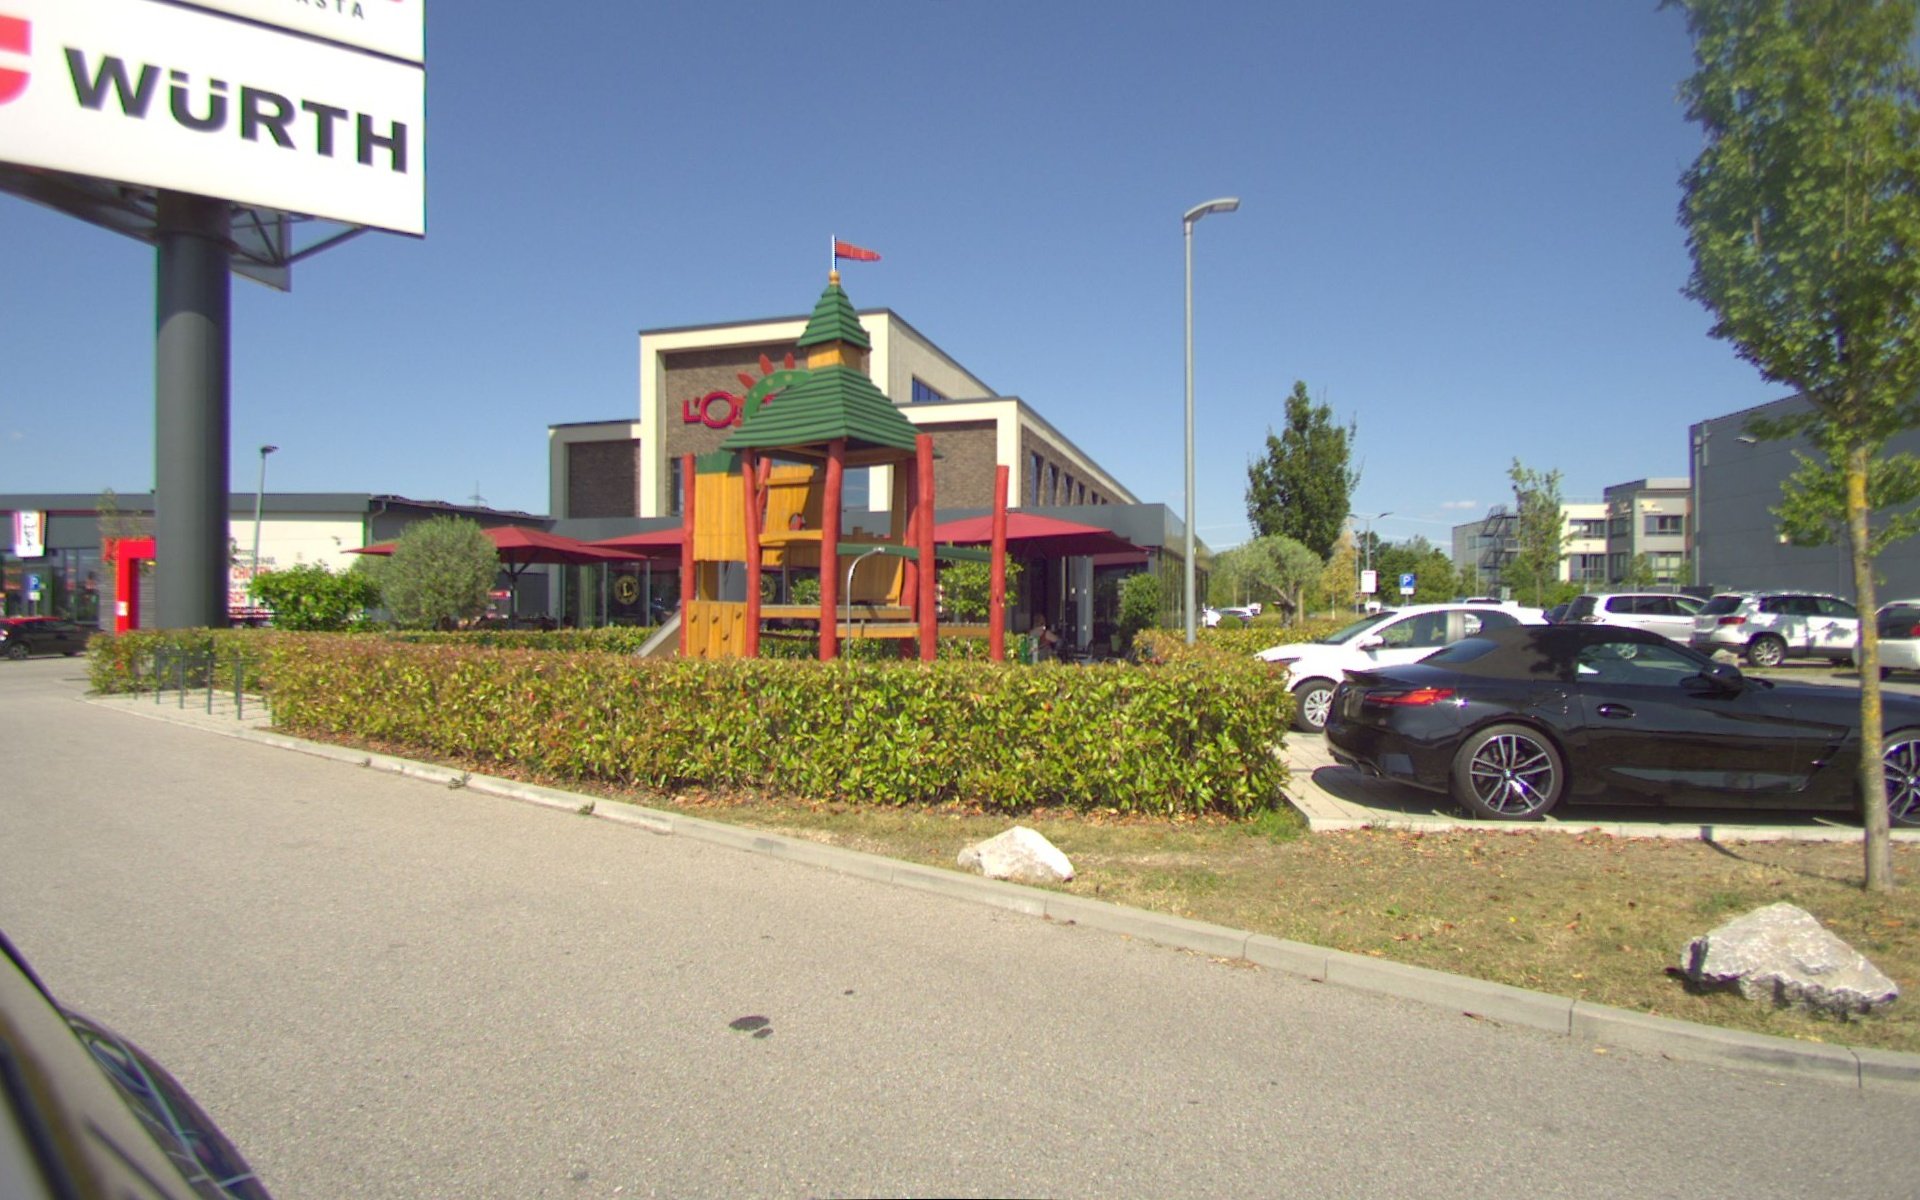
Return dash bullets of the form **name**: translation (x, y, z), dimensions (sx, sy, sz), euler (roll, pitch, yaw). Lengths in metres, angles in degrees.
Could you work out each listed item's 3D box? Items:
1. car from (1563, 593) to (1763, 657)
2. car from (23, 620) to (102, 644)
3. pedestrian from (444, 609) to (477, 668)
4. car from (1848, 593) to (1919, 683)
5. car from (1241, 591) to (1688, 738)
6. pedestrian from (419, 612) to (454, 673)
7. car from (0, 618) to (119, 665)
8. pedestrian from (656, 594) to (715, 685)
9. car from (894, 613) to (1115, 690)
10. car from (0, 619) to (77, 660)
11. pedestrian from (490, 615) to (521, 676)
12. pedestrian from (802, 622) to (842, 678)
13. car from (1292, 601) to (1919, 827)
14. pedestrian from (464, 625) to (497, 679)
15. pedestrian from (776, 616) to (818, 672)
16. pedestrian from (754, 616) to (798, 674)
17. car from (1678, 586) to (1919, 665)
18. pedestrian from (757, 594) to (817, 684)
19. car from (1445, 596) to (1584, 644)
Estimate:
- **car**: translation (18.441, 0.657, 26.728), dimensions (3.907, 1.579, 1.732), euler (-1, -1, 10)
- **car**: translation (-64.432, 2.289, 72.719), dimensions (3.931, 1.564, 1.760), euler (0, -1, -30)
- **pedestrian**: translation (-12.874, 0.990, 26.084), dimensions (0.564, 1.516, 0.523), euler (-1, -1, 15)
- **car**: translation (18.024, 0.612, 17.313), dimensions (3.902, 1.498, 1.734), euler (-1, -1, 6)
- **car**: translation (5.704, 0.736, 12.059), dimensions (4.329, 1.542, 1.947), euler (-1, -1, 11)
- **pedestrian**: translation (-13.066, 1.054, 25.264), dimensions (0.564, 1.516, 0.523), euler (-1, -1, 15)
- **car**: translation (-33.027, 1.450, 36.461), dimensions (1.725, 1.518, 3.888), euler (-1, 0, 16)
- **pedestrian**: translation (-5.307, 0.750, 19.556), dimensions (0.761, 1.700, 0.776), euler (-2, -1, 35)
- **car**: translation (0.834, 0.913, 18.781), dimensions (3.813, 1.318, 1.637), euler (-1, -1, 21)
- **car**: translation (-35.627, 1.469, 37.362), dimensions (1.724, 1.423, 4.381), euler (-1, 0, 15)
- **pedestrian**: translation (-10.511, 1.052, 23.411), dimensions (0.474, 1.377, 0.651), euler (-1, -1, -8)
- **pedestrian**: translation (-2.753, 0.989, 20.219), dimensions (0.543, 1.098, 0.572), euler (-2, -1, 33)
- **car**: translation (4.834, 0.733, 7.238), dimensions (4.323, 1.373, 1.865), euler (-1, -1, 6)
- **pedestrian**: translation (-10.708, 1.152, 22.609), dimensions (0.474, 1.194, 0.651), euler (-1, -1, -8)
- **pedestrian**: translation (-3.637, 0.969, 22.549), dimensions (0.699, 1.207, 0.617), euler (0, -2, -42)
- **pedestrian**: translation (-3.943, 0.963, 21.700), dimensions (0.613, 1.207, 0.704), euler (-2, -1, 25)
- **car**: translation (18.189, 0.545, 21.899), dimensions (3.904, 1.579, 1.733), euler (-1, -1, 8)
- **pedestrian**: translation (-3.224, 0.719, 18.898), dimensions (0.761, 1.627, 0.776), euler (-2, -1, 35)
- **car**: translation (19.616, 0.711, 35.920), dimensions (3.907, 1.579, 1.732), euler (-1, -1, 10)
